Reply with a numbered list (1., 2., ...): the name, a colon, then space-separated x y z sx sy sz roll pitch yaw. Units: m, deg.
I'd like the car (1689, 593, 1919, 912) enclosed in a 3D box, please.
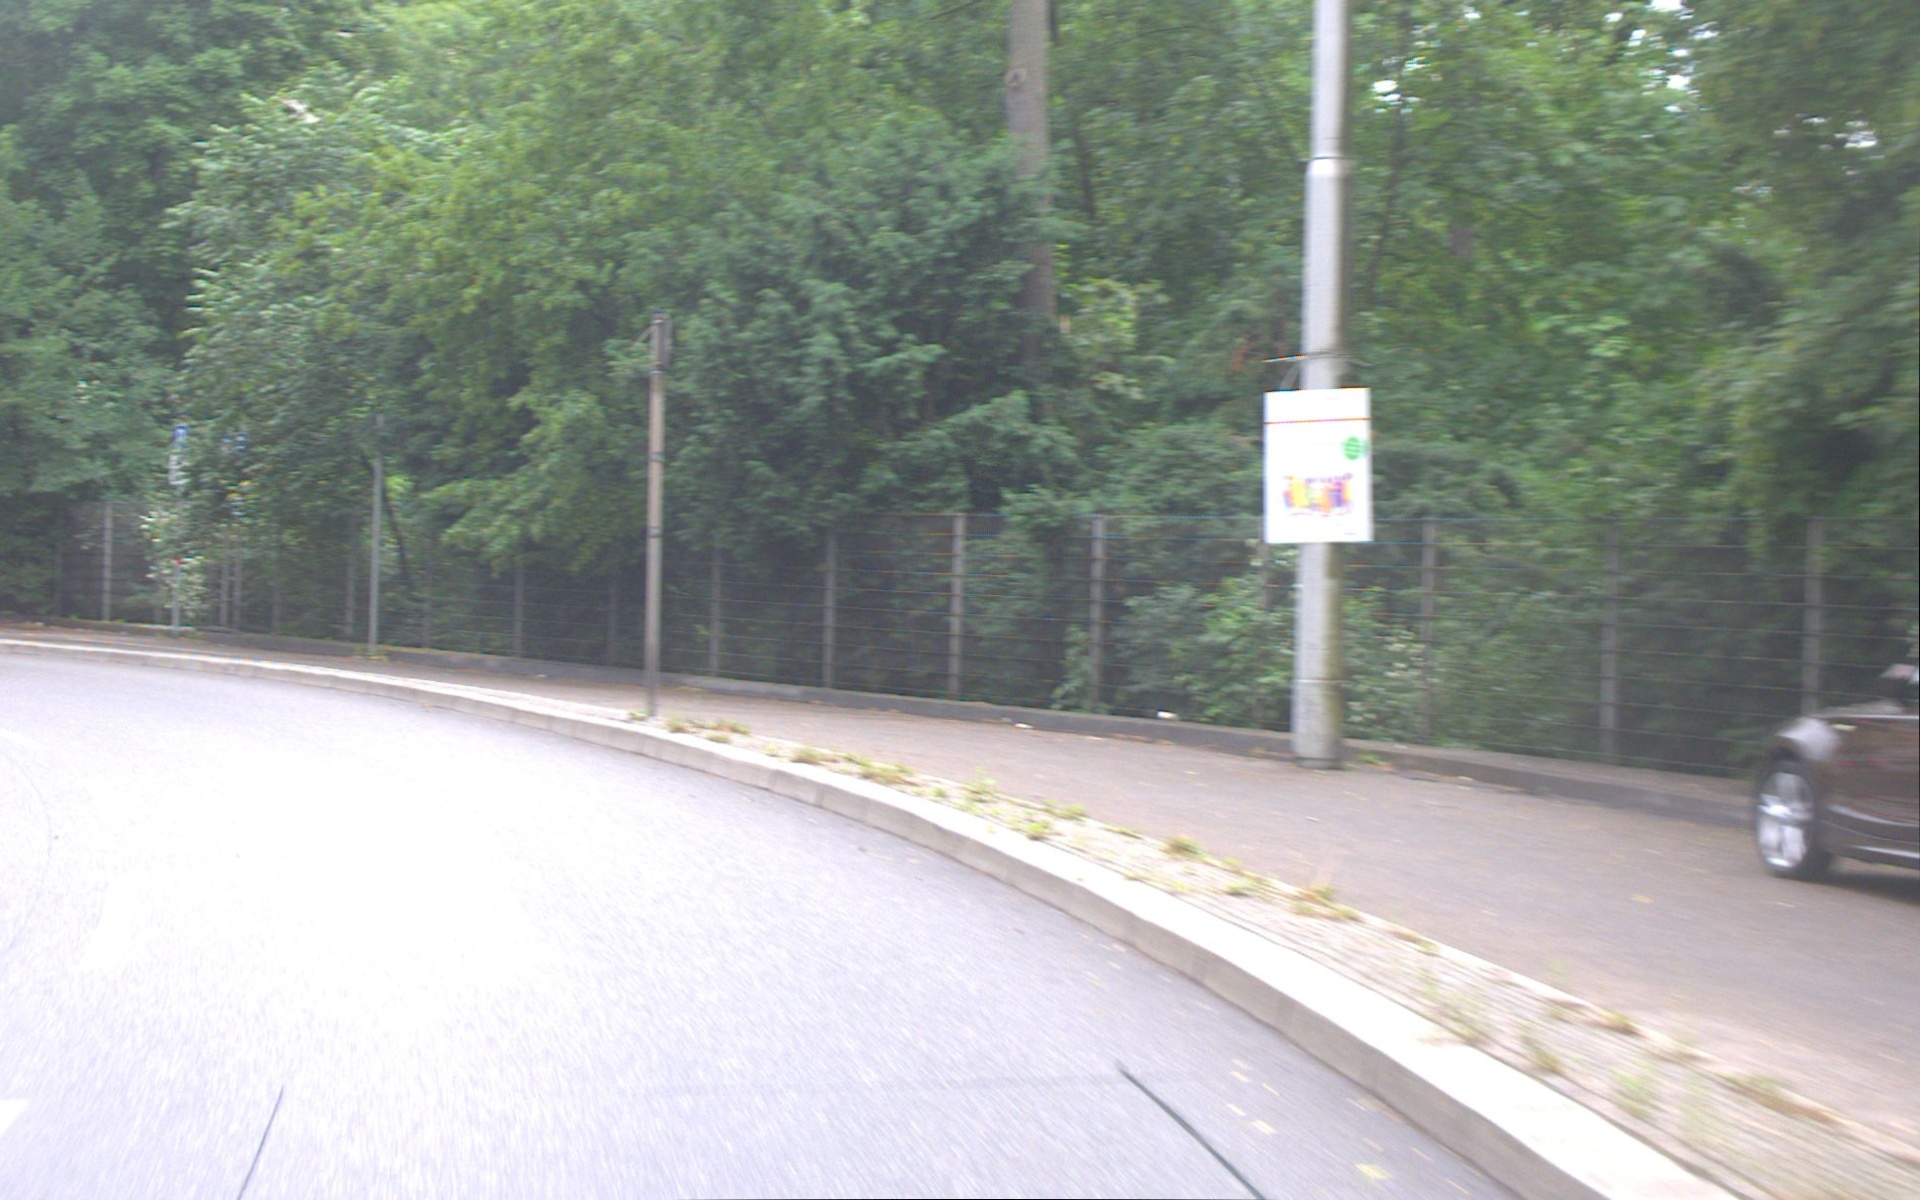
1. car: 5.258 0.784 16.347 1.687 1.421 4.372 4 1 -14
